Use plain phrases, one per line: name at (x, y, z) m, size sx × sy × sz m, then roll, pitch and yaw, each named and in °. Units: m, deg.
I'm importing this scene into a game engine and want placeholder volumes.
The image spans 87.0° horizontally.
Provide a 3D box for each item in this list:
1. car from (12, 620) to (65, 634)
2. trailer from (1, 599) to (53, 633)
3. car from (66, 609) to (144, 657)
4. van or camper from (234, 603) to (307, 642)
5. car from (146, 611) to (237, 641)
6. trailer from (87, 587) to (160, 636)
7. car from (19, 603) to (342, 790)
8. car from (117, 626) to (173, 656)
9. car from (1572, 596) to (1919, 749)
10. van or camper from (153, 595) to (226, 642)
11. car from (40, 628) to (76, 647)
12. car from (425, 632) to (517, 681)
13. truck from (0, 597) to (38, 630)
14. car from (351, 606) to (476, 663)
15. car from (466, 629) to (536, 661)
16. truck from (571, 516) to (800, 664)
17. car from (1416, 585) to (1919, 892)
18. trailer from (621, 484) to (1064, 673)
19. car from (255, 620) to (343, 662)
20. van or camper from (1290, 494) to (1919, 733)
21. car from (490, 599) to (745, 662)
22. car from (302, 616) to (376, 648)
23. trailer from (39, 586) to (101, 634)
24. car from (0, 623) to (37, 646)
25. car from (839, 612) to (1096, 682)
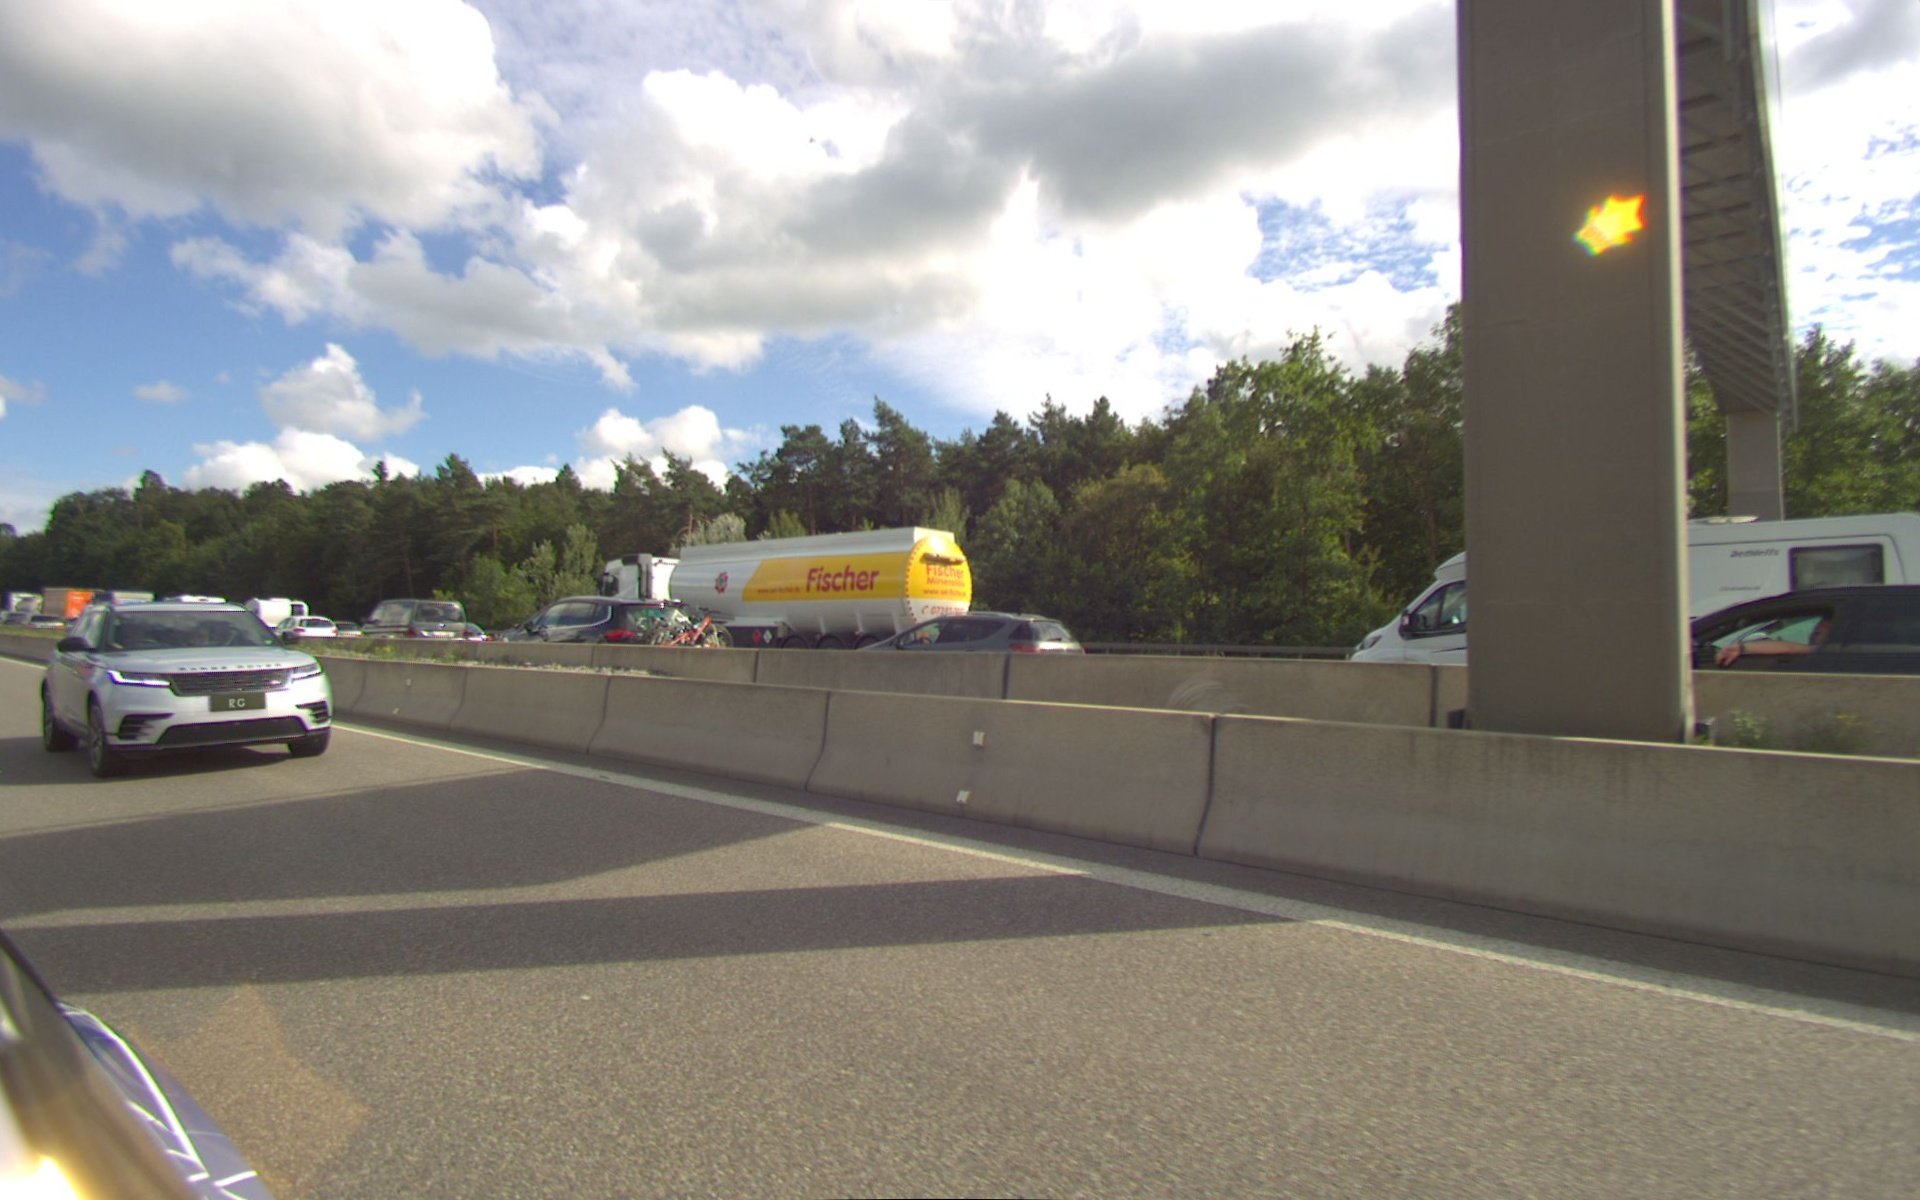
car at (-51.432, 1.480, 56.468) m, size 4.444 × 0.730 × 1.630 m, roll -1°, pitch -1°, yaw 41°
trailer at (-103.552, 1.703, 112.211) m, size 12.225 × 3.524 × 2.919 m, roll 0°, pitch 0°, yaw 41°
car at (-39.015, 1.491, 46.140) m, size 5.497 × 2.078 × 1.813 m, roll -1°, pitch -2°, yaw 41°
van or camper at (-37.572, 1.203, 55.078) m, size 4.687 × 2.026 × 2.259 m, roll -1°, pitch 0°, yaw 43°
car at (-26.760, 0.902, 35.194) m, size 4.485 × 0.947 × 1.626 m, roll -1°, pitch 0°, yaw 41°
trailer at (-66.892, 0.888, 80.858) m, size 10.215 × 3.686 × 2.858 m, roll 0°, pitch 0°, yaw 41°
car at (-8.764, 0.888, 11.181) m, size 5.103 × 1.619 × 1.880 m, roll -2°, pitch -1°, yaw 41°
car at (-48.533, 2.411, 60.233) m, size 4.660 × 1.644 × 1.781 m, roll -1°, pitch 1°, yaw 41°
car at (8.660, 0.642, 9.741) m, size 4.534 × 1.334 × 1.547 m, roll -1°, pitch -1°, yaw 41°
van or camper at (-51.211, 1.163, 67.213) m, size 7.479 × 2.911 × 2.444 m, roll 1°, pitch 1°, yaw 41°
car at (-68.320, 2.853, 76.632) m, size 3.321 × 1.385 × 1.616 m, roll -1°, pitch -2°, yaw 40°
car at (-18.654, 2.114, 38.575) m, size 3.696 × 1.668 × 1.813 m, roll -1°, pitch 0°, yaw 40°
truck at (-108.647, 1.530, 116.645) m, size 5.106 × 3.775 × 2.926 m, roll -1°, pitch -1°, yaw 41°
car at (-17.791, 1.082, 32.847) m, size 4.779 × 1.668 × 1.987 m, roll -1°, pitch 0°, yaw 41°
car at (-25.548, 2.467, 56.276) m, size 4.479 × 1.668 × 1.813 m, roll -1°, pitch -1°, yaw 41°
truck at (-8.347, -0.224, 30.403) m, size 6.798 × 3.930 × 3.382 m, roll -1°, pitch -1°, yaw 41°
car at (5.974, 0.819, 6.883) m, size 4.936 × 1.812 × 1.749 m, roll -1°, pitch -1°, yaw 41°
trailer at (-3.727, -0.333, 26.327) m, size 13.253 × 3.857 × 3.376 m, roll -1°, pitch -1°, yaw 41°
car at (-26.280, 1.596, 40.173) m, size 4.240 × 1.549 × 1.813 m, roll -1°, pitch 0°, yaw 40°
van or camper at (8.781, 0.152, 14.532) m, size 7.394 × 2.662 × 2.300 m, roll 0°, pitch 0°, yaw 41°
car at (-6.051, 0.496, 17.445) m, size 5.460 × 0.934 × 1.650 m, roll -1°, pitch 0°, yaw 41°
car at (-29.194, 1.490, 47.544) m, size 4.432 × 1.401 × 1.682 m, roll -1°, pitch 0°, yaw 41°
trailer at (-84.588, 0.896, 96.095) m, size 13.170 × 4.352 × 2.612 m, roll 0°, pitch 1°, yaw 41°
car at (-62.766, 2.247, 67.053) m, size 4.900 × 1.398 × 1.813 m, roll -1°, pitch -1°, yaw 41°
car at (0.017, 0.735, 16.977) m, size 4.388 × 1.012 × 1.524 m, roll -1°, pitch 0°, yaw 41°
